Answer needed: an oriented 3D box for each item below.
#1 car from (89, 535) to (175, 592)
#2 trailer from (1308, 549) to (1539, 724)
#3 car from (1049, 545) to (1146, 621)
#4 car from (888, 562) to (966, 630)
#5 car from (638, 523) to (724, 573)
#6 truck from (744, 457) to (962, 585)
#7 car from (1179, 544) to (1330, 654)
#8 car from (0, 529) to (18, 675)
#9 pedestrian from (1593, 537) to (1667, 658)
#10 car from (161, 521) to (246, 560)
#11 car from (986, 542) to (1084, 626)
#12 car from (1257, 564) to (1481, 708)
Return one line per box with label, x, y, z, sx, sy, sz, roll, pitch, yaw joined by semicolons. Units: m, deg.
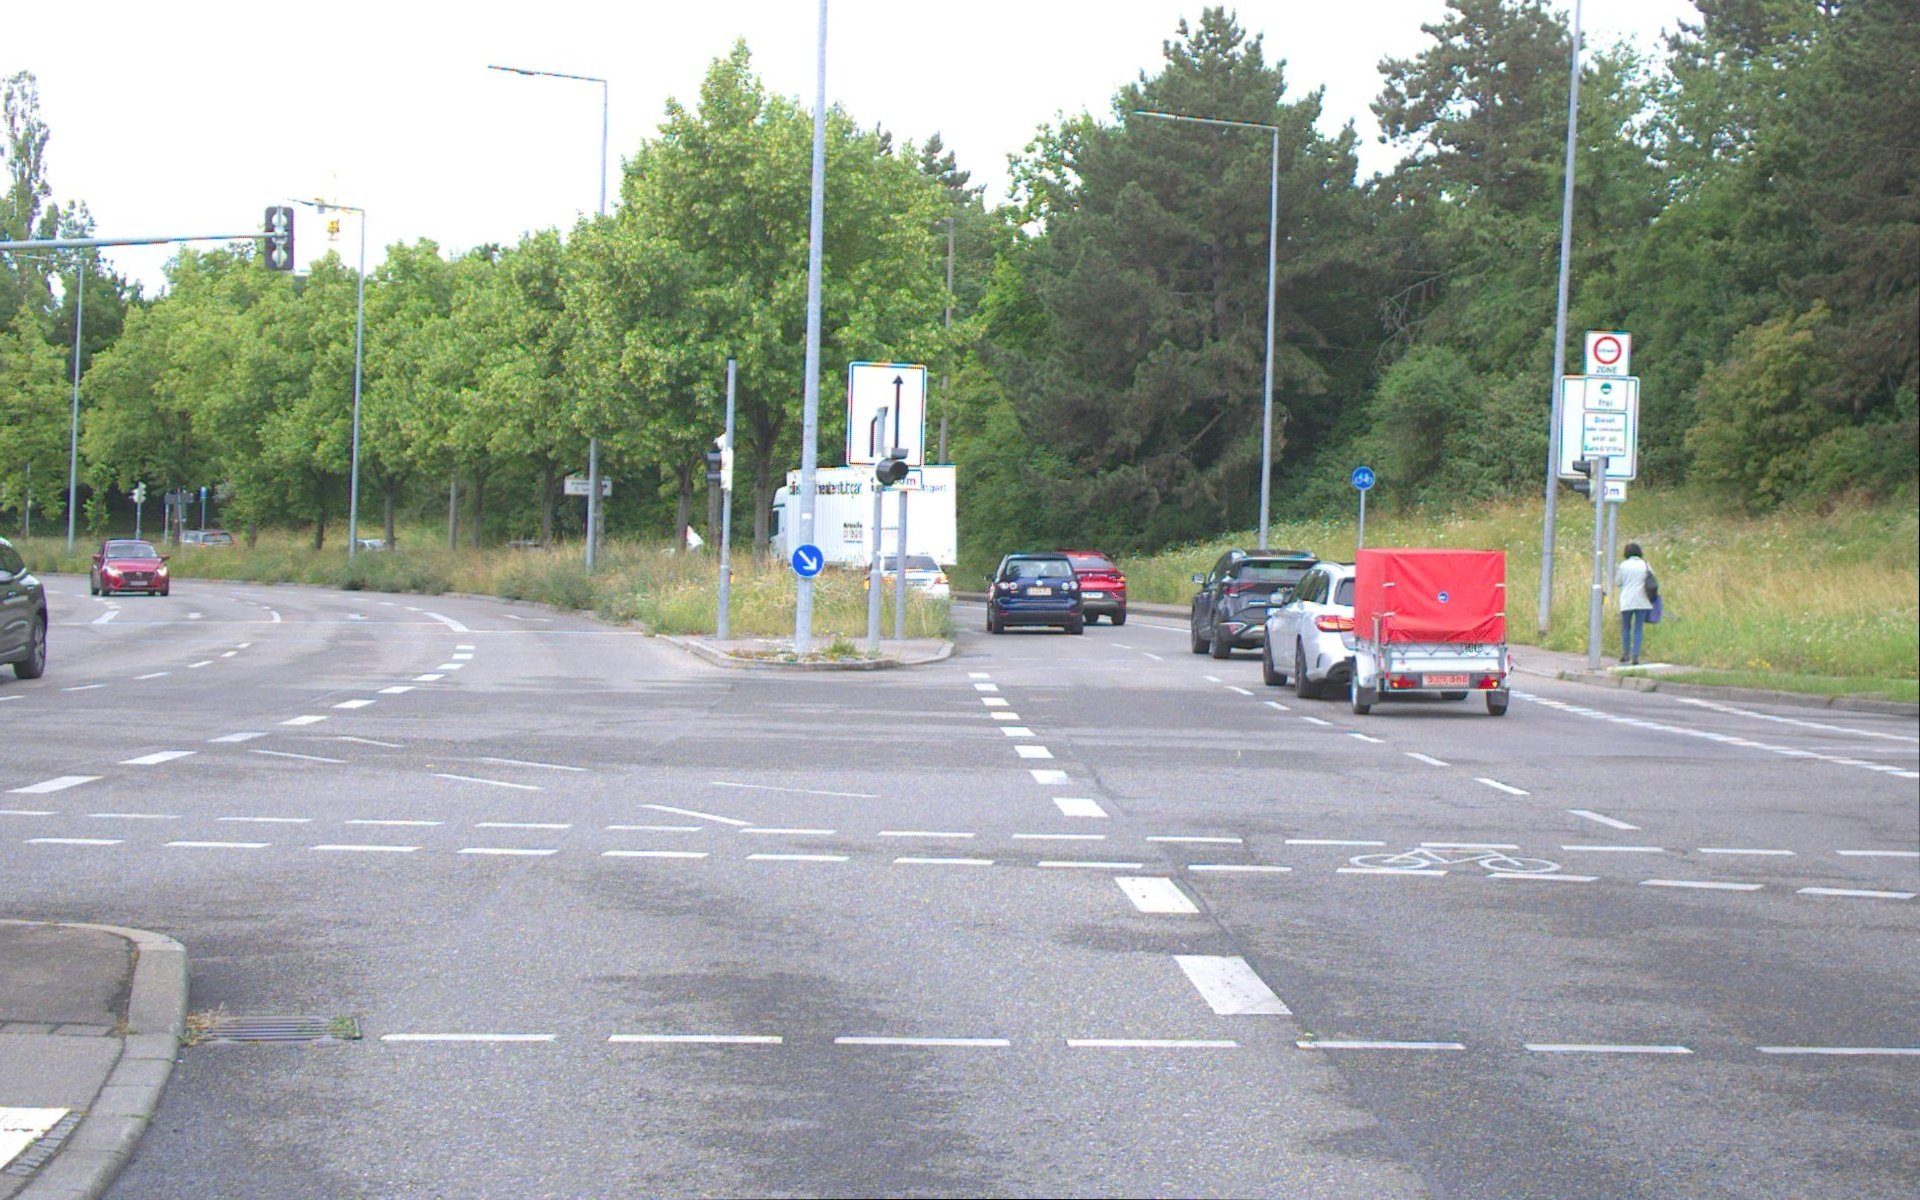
car;-21.723;-0.974;90.093;1.780;1.438;4.427;0;1;-19
trailer;4.544;0.322;34.073;1.764;1.610;3.044;1;1;-2
car;2.937;-0.389;74.165;1.778;1.541;4.025;0;1;-2
car;-0.820;-0.114;83.372;1.778;1.541;4.025;1;1;-2
car;-8.922;-1.661;109.570;1.777;1.541;4.026;0;1;-19
truck;-3.117;-2.190;95.055;2.739;3.317;11.410;0;1;-19
car;4.368;-0.047;51.532;1.778;1.541;4.025;1;1;-2
car;-11.009;0.024;36.071;1.777;1.541;4.226;1;1;-10
pedestrian;9.172;-0.040;47.086;0.814;1.622;0.791;1;1;-1
car;-31.678;-2.498;143.901;1.778;1.541;4.023;0;2;-40
car;1.487;-0.338;66.585;1.778;1.541;4.024;1;1;3
car;4.423;0.347;37.817;1.778;1.416;4.459;1;1;-2
